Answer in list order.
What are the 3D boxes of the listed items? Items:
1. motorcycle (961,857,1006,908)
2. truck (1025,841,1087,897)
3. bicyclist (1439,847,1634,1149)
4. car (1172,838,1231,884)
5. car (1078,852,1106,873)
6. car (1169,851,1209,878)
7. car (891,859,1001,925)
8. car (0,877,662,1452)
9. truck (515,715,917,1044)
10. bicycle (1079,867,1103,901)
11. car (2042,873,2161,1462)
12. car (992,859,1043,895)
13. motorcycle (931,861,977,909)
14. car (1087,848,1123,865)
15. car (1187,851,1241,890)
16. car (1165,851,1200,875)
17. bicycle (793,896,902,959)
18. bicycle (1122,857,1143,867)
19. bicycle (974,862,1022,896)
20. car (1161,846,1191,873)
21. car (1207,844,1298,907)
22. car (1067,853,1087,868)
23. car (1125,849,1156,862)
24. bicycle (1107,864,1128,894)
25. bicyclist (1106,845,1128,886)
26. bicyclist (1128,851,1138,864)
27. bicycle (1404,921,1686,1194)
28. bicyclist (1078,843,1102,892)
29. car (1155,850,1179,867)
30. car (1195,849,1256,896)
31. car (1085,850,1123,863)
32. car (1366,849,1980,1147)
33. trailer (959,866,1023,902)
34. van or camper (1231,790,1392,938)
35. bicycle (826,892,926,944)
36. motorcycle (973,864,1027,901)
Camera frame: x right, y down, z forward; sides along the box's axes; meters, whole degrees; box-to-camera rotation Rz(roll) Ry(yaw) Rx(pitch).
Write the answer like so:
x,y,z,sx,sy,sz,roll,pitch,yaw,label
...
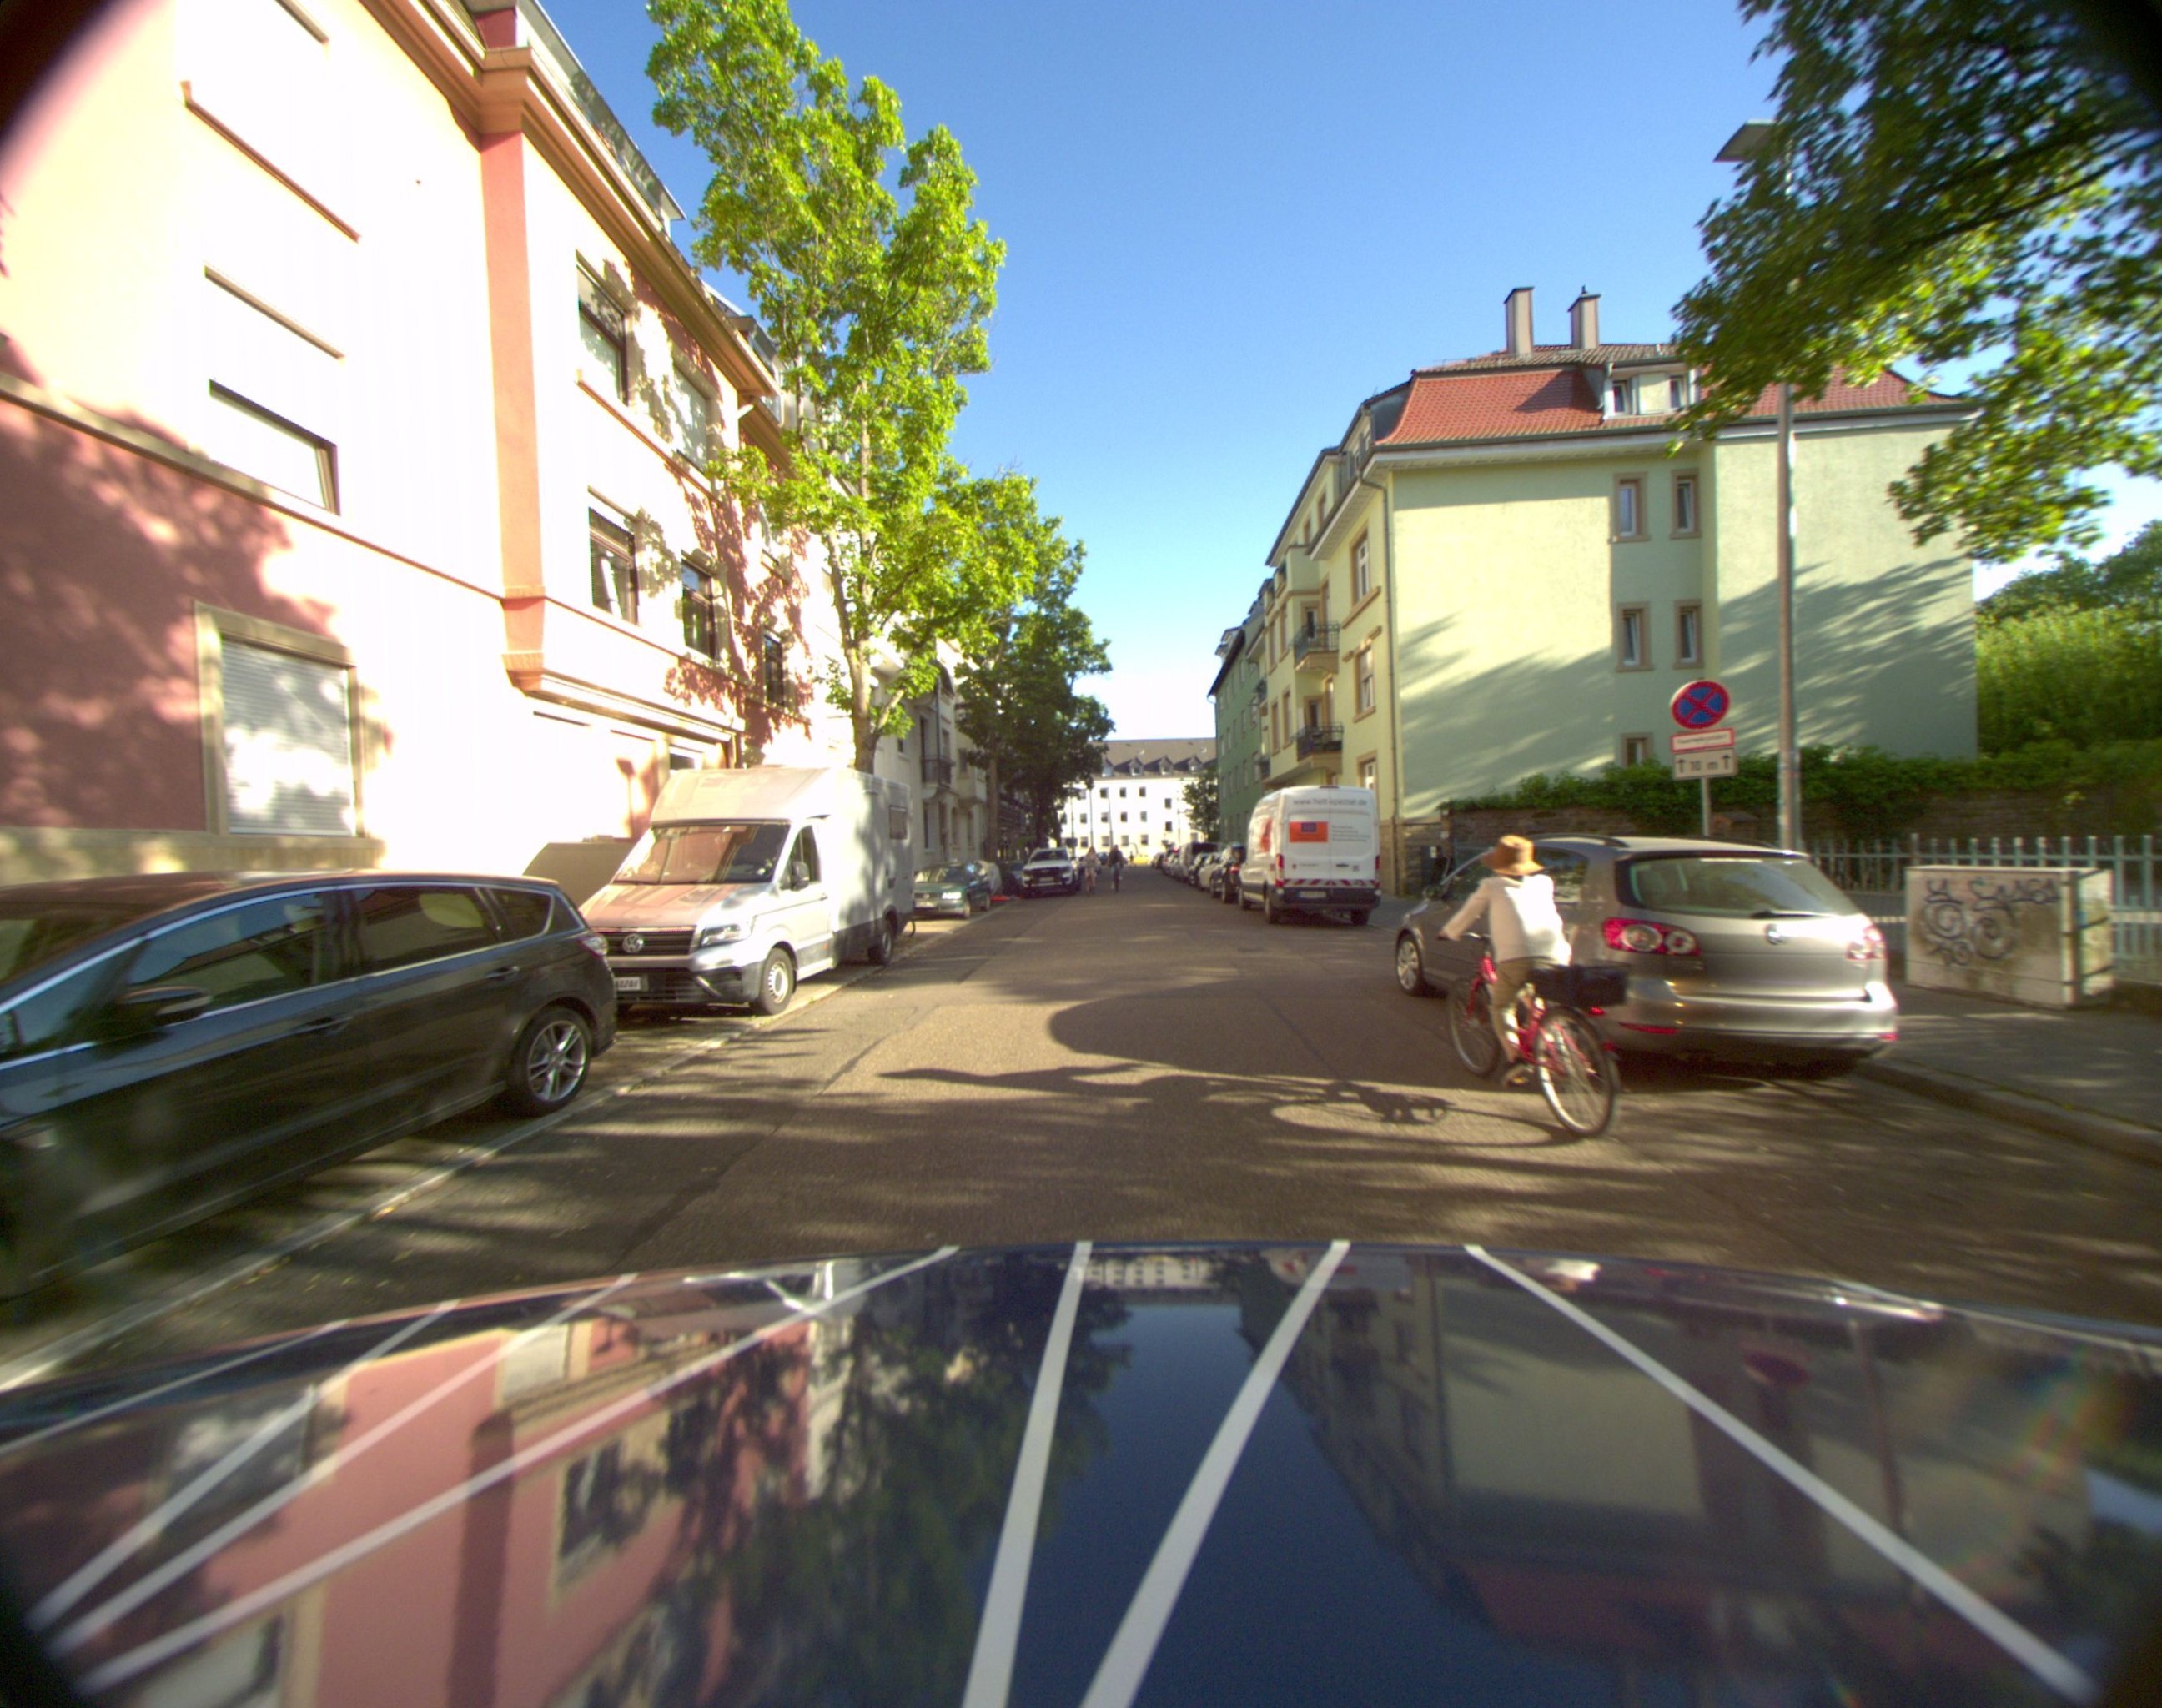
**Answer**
x,y,z,sx,sy,sz,roll,pitch,yaw,label
-3.092,0.876,24.257,0.932,1.477,2.138,-2,0,5,motorcycle
-0.892,0.514,29.974,1.832,1.937,5.542,-2,0,4,truck
2.434,0.730,4.129,0.653,1.500,0.625,-3,1,5,bicyclist
6.062,0.303,38.769,2.257,2.156,5.243,1,1,1,car
0.888,0.639,58.827,1.806,1.526,3.965,-3,0,5,car
6.247,0.600,44.416,1.837,1.454,4.363,1,1,2,car
-3.505,0.933,20.700,1.755,1.521,4.782,-1,1,5,car
-4.373,1.071,3.561,1.890,1.706,4.944,-1,0,2,car
-3.986,0.210,9.947,2.078,2.951,6.109,1,0,3,truck
0.359,1.058,27.204,0.707,1.039,1.858,-5,1,3,bicycle
3.596,0.867,0.148,1.680,1.563,4.152,1,0,4,car
-2.751,0.985,33.771,1.684,1.414,4.431,0,0,3,car
-4.036,0.960,24.289,0.863,1.408,2.234,-3,0,5,motorcycle
2.719,0.252,85.564,3.817,1.772,1.926,-3,1,-3,car
5.647,0.647,32.737,1.770,1.512,4.826,-1,0,4,car
6.539,0.531,49.432,1.724,1.454,4.506,1,1,1,car
-4.151,1.303,13.614,1.707,0.994,0.706,-2,1,-3,bicycle
5.286,0.807,78.043,2.102,0.892,0.601,-3,1,-3,bicycle
-3.258,0.974,29.862,1.763,1.297,0.586,-2,1,2,bicycle
6.876,0.367,55.510,1.775,1.832,4.415,0,1,2,car
5.020,0.565,22.925,1.880,1.676,4.970,0,0,3,car
-0.336,0.590,72.072,1.665,1.399,4.508,1,1,3,car
7.396,0.199,95.152,3.612,1.440,1.553,-2,2,-5,car
1.452,0.981,29.943,0.740,1.054,1.858,-3,1,3,bicycle
1.430,0.458,29.952,0.757,1.556,0.981,-3,1,3,bicyclist
5.348,0.349,78.035,0.897,1.361,0.563,-3,2,-4,bicyclist
2.460,1.006,4.289,0.666,1.071,1.686,-2,1,6,bicycle
0.329,0.476,27.249,0.716,1.679,0.981,-4,1,2,bicyclist
7.714,0.404,68.354,1.770,1.444,4.208,1,0,3,car
5.229,0.632,27.995,1.639,1.543,4.089,-1,1,3,car
2.830,0.336,94.821,4.492,1.498,1.944,-2,0,-3,car
4.016,0.762,6.339,1.784,1.581,4.469,0,1,3,car
-3.127,1.016,26.184,2.087,1.106,1.115,-2,1,-10,trailer
4.885,0.162,17.146,2.133,2.753,5.852,0,1,3,van or camper
-4.052,1.262,15.050,1.789,0.943,0.579,-2,1,5,bicycle
-2.937,1.003,27.535,1.768,1.233,0.700,-3,1,-36,motorcycle
